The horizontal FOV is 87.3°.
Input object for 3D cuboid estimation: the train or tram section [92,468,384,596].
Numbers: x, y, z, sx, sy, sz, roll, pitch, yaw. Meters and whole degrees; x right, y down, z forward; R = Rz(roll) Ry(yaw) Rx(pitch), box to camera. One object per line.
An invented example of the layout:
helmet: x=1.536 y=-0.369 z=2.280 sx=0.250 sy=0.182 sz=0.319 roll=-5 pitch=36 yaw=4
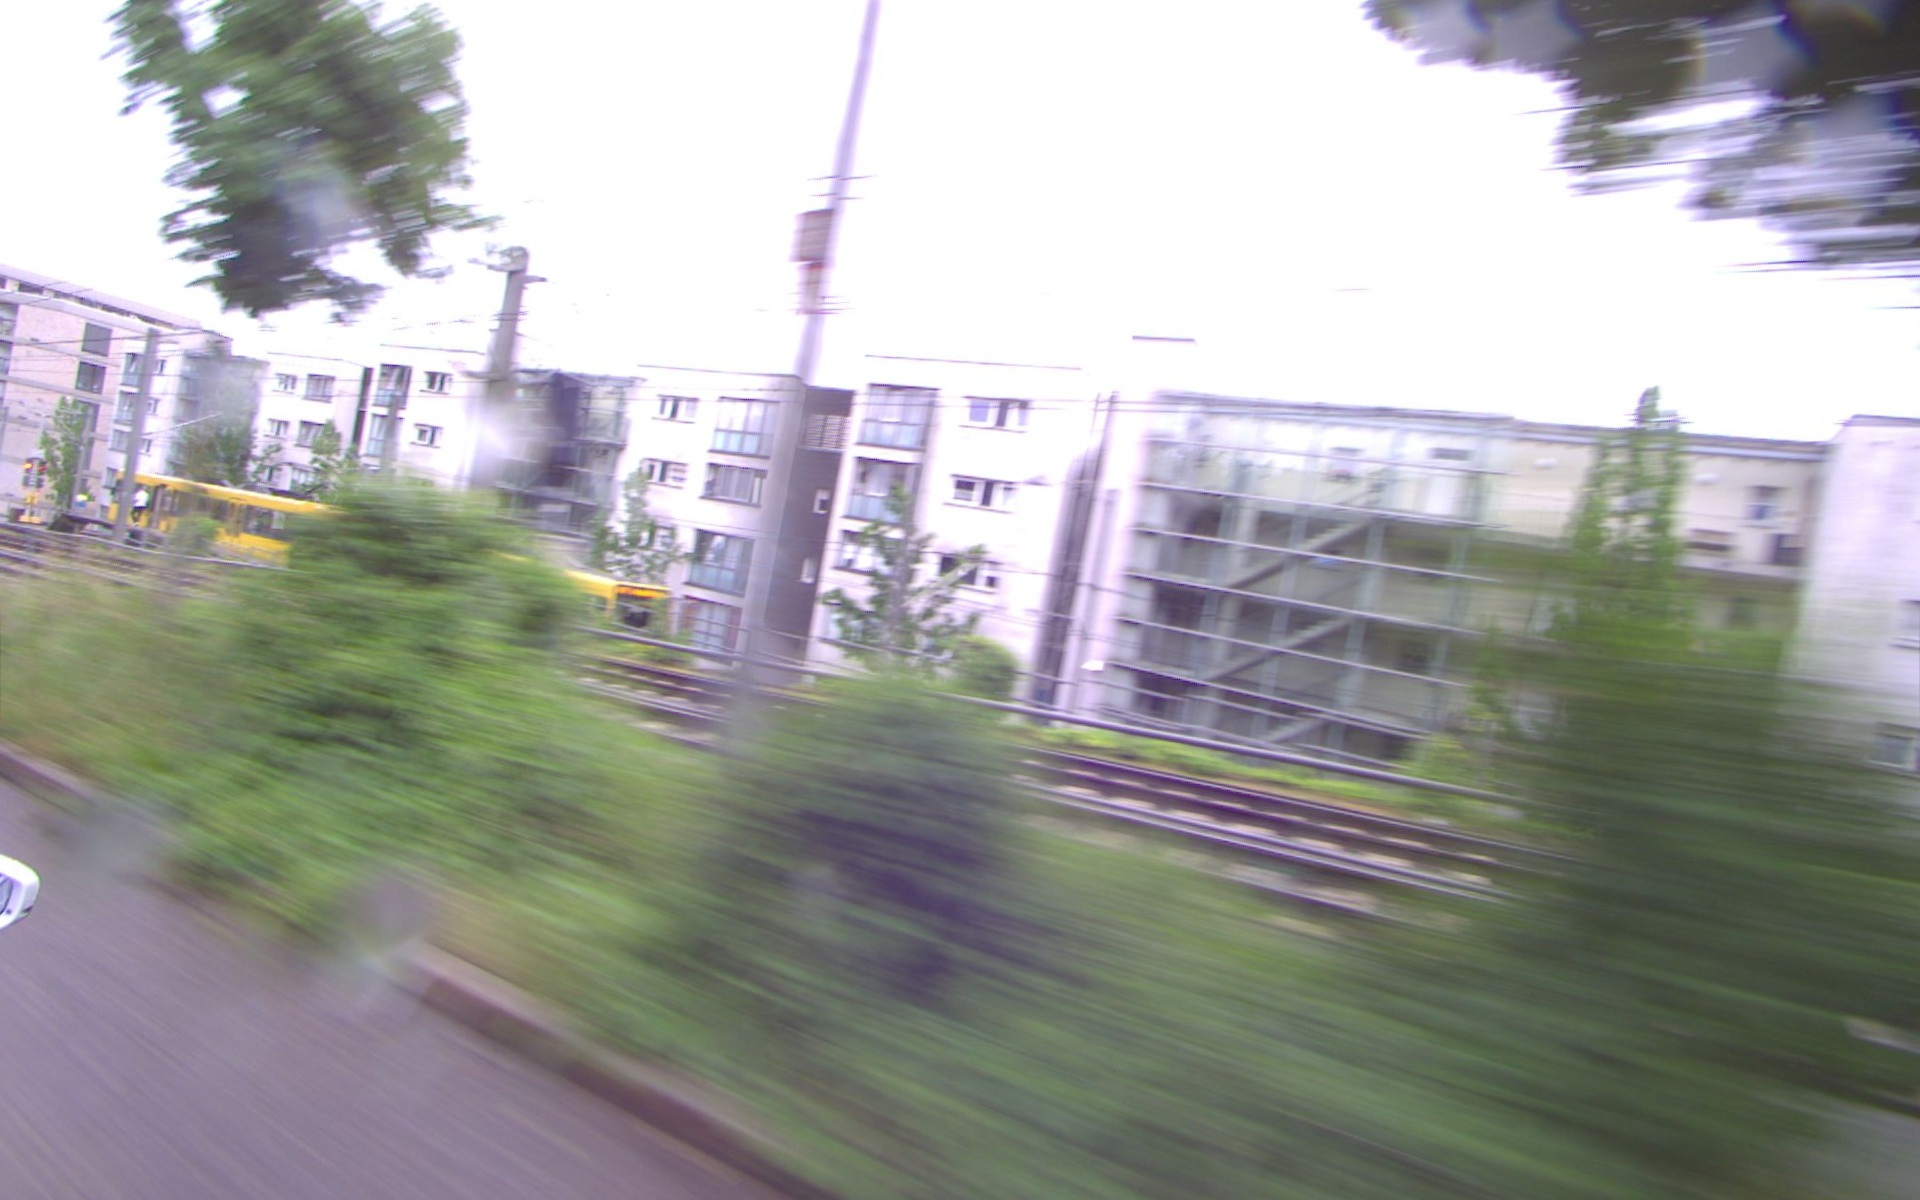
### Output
train or tram section: x=-33.092 y=-3.280 z=45.434 sx=18.497 sy=3.992 sz=3.339 roll=7 pitch=-2 yaw=31

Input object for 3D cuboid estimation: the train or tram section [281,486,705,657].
train or tram section: x=-17.421 y=-1.328 z=35.955 sx=18.957 sy=3.992 sz=3.339 roll=7 pitch=-2 yaw=31

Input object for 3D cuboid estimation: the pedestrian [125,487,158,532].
pedestrian: x=-37.082 y=-4.114 z=45.586 sx=0.804 sy=1.902 sz=0.723 roll=6 pitch=-2 yaw=31
